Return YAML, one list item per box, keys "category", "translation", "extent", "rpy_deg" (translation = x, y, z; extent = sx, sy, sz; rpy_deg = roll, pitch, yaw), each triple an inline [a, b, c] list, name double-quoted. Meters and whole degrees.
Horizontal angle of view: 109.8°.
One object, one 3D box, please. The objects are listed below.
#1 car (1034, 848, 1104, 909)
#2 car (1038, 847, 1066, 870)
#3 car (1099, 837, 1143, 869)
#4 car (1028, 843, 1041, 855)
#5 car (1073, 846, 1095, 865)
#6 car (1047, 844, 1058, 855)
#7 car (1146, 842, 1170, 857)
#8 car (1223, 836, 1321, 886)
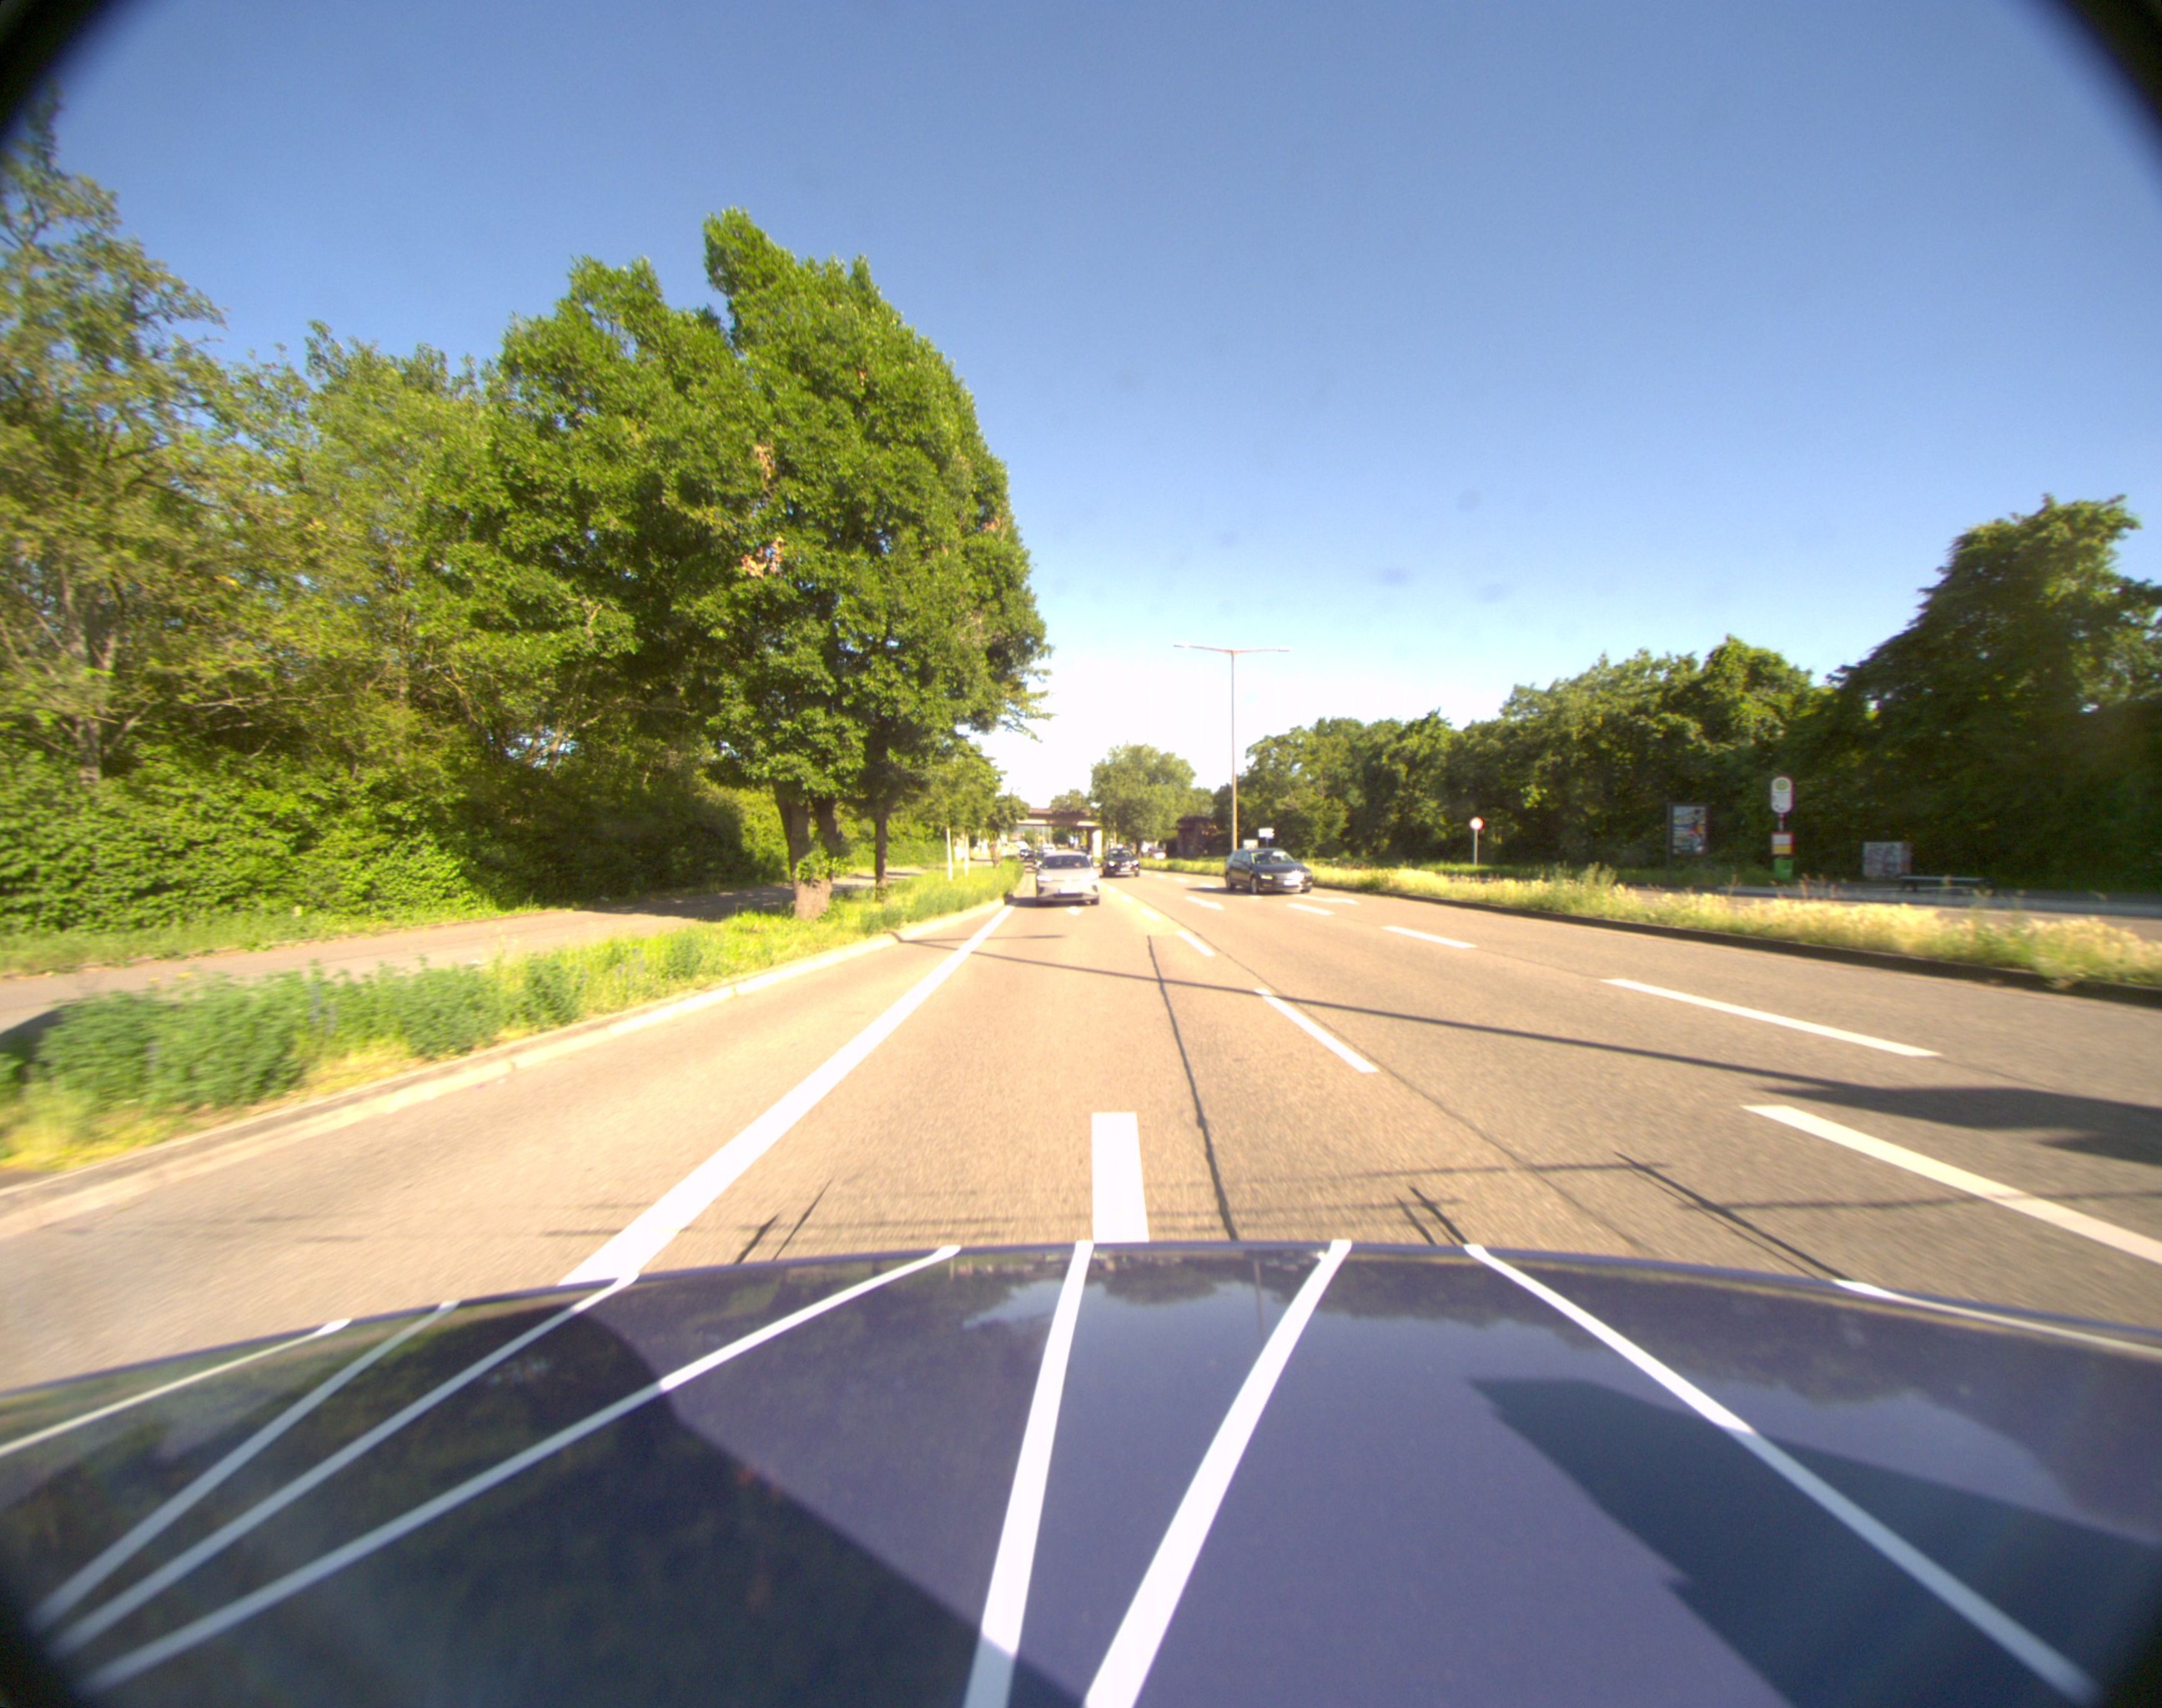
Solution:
- category: "car"
  translation: [-0.290, 0.677, 23.630]
  extent: [1.801, 1.665, 4.240]
  rpy_deg: [-2, 1, 4]
- category: "car"
  translation: [-2.120, 0.301, 56.223]
  extent: [1.873, 1.611, 3.836]
  rpy_deg: [-2, 1, 0]
- category: "car"
  translation: [2.225, -0.058, 43.035]
  extent: [1.715, 1.653, 3.853]
  rpy_deg: [-3, 1, -8]
- category: "car"
  translation: [-6.925, -0.766, 113.454]
  extent: [1.874, 1.611, 3.835]
  rpy_deg: [-2, 1, -3]
- category: "car"
  translation: [0.250, 0.141, 70.716]
  extent: [1.714, 1.653, 3.854]
  rpy_deg: [-3, 1, -5]
- category: "car"
  translation: [-5.170, -0.816, 137.057]
  extent: [1.999, 2.002, 3.999]
  rpy_deg: [-1, 1, -2]
- category: "car"
  translation: [8.555, -0.510, 84.663]
  extent: [1.874, 1.611, 3.834]
  rpy_deg: [-2, 1, -5]
- category: "car"
  translation: [6.239, 0.205, 25.262]
  extent: [1.796, 1.487, 3.998]
  rpy_deg: [-2, 1, -7]
